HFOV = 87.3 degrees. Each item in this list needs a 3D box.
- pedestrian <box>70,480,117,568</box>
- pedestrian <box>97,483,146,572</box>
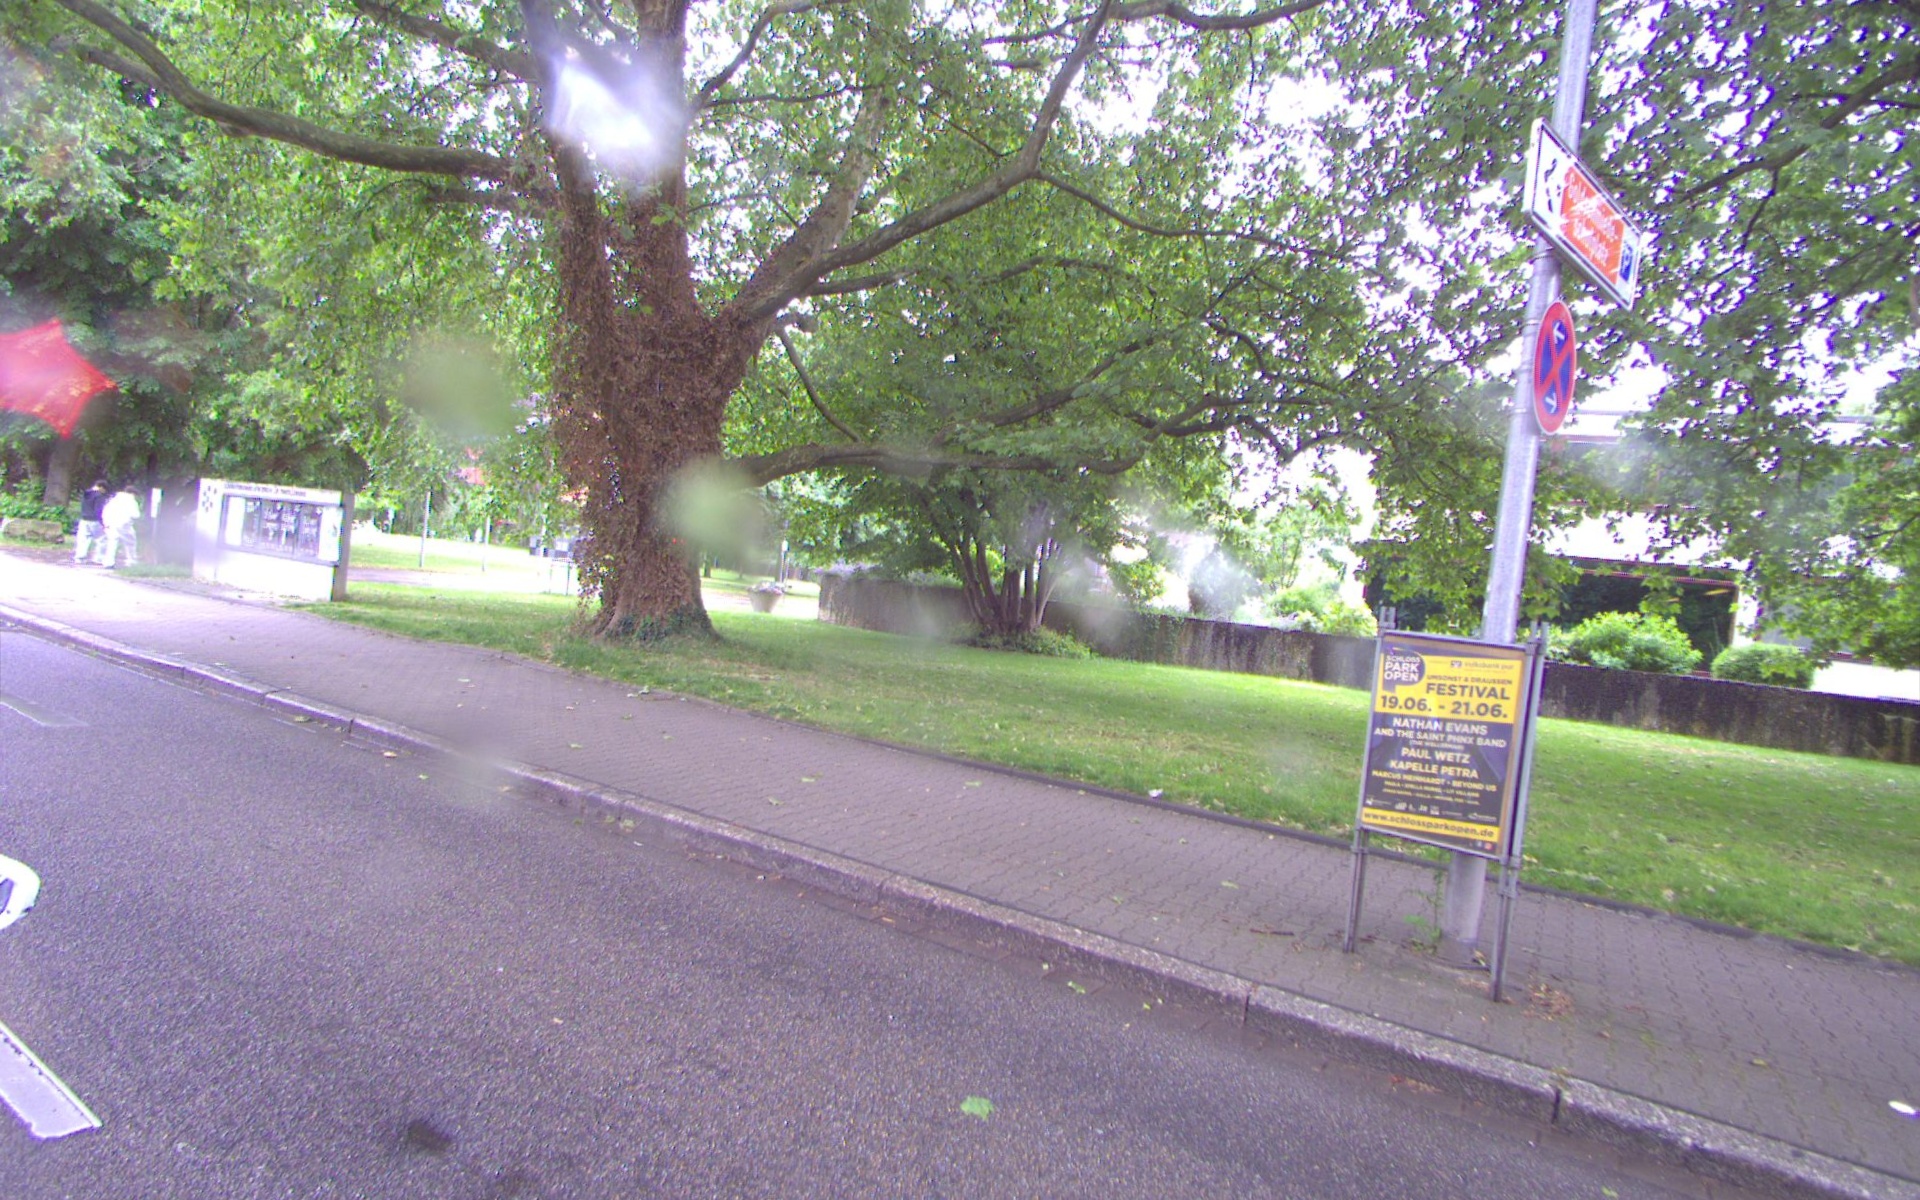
[{"bbox_3d":[-18.136,-1.585,21.057,0.550,1.744,0.485,7,2,25],"label":"pedestrian"},{"bbox_3d":[-17.156,-1.474,20.588,0.550,1.744,0.504,7,2,25],"label":"pedestrian"}]
